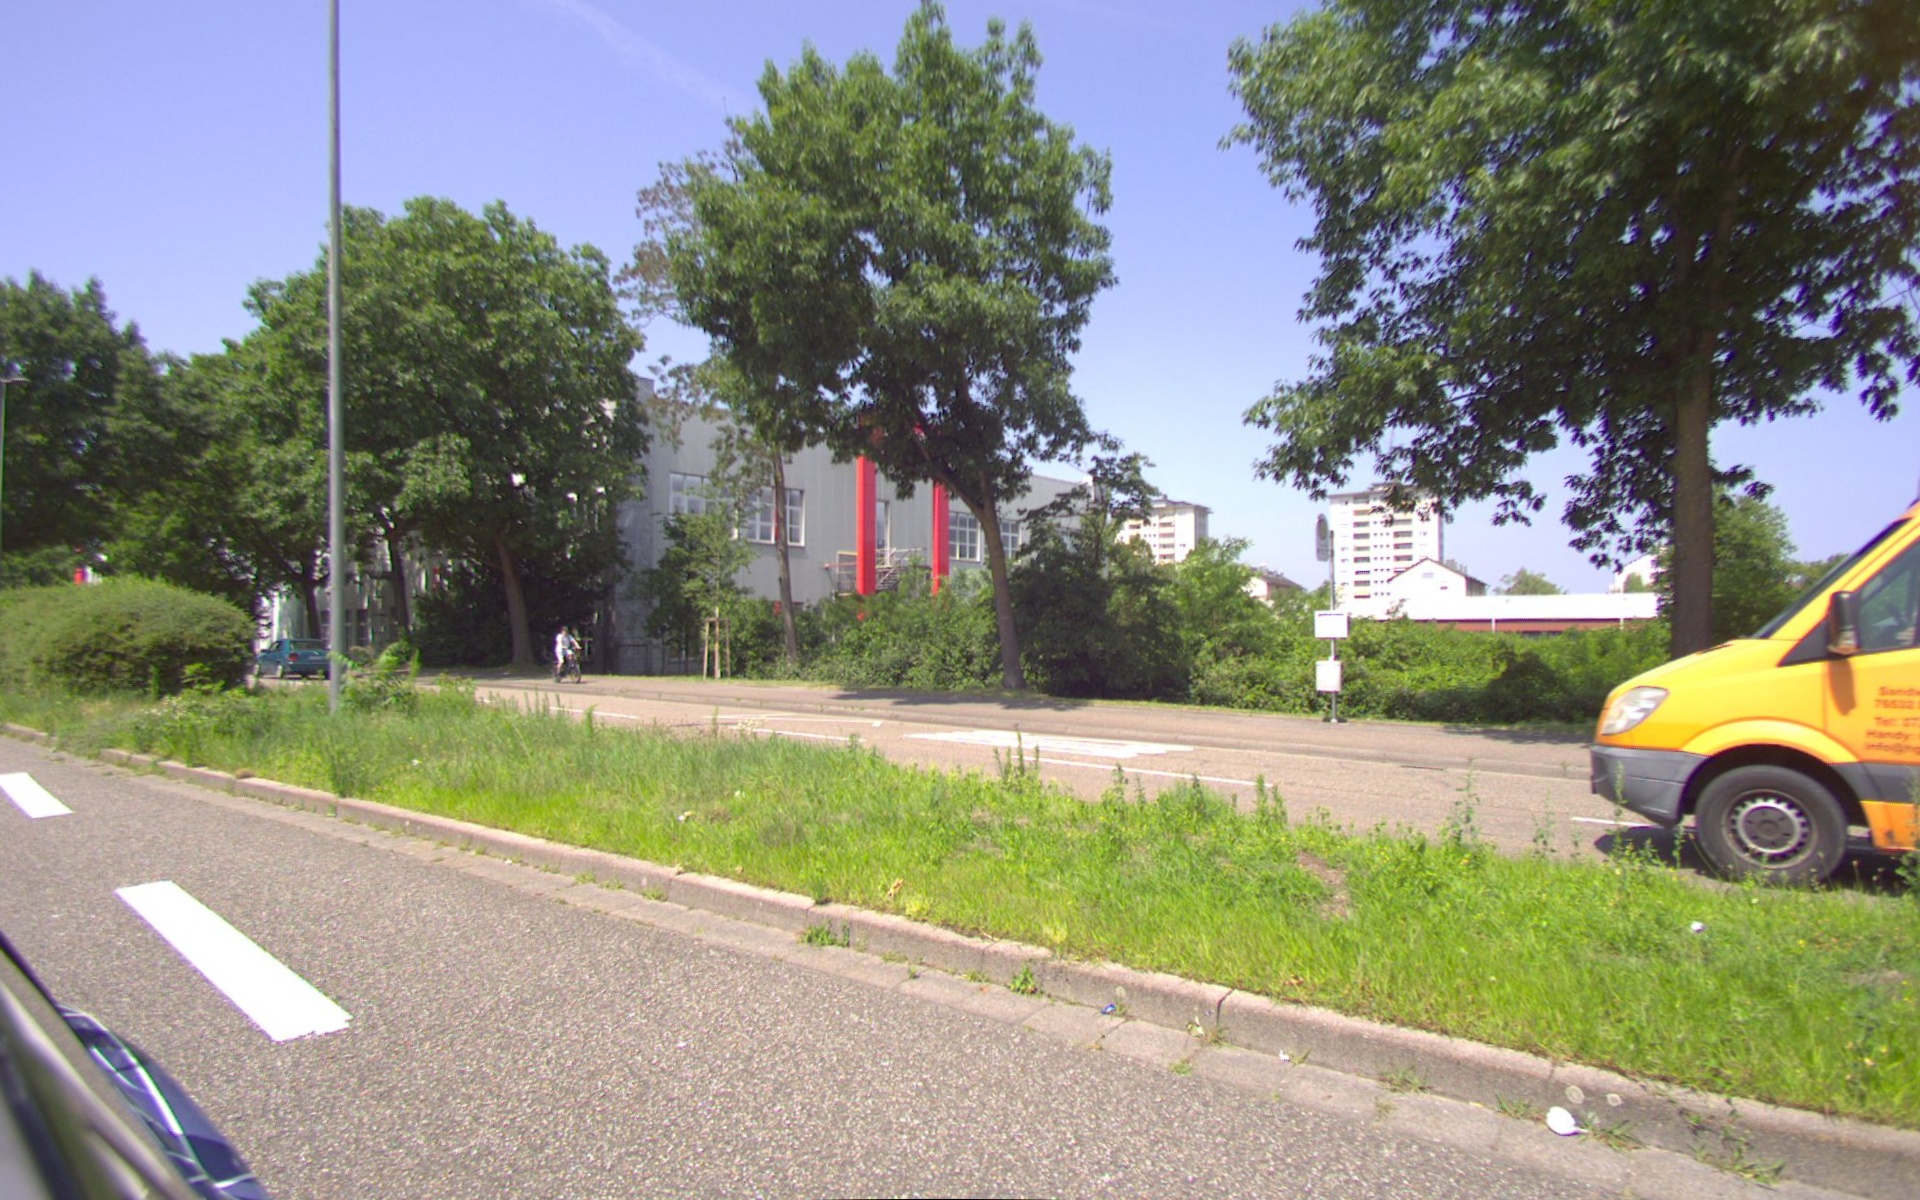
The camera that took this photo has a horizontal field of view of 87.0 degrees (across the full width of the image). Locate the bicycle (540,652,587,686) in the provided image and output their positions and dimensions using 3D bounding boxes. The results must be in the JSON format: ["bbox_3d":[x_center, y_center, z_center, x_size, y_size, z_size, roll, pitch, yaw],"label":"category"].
[{"bbox_3d":[-11.737,2.028,29.947,1.660,0.976,0.610,-2,-3,43],"label":"bicycle"}]

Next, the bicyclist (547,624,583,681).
[{"bbox_3d":[-11.671,1.541,29.906,0.923,1.643,0.601,-2,-3,42],"label":"bicyclist"}]

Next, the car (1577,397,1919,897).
[{"bbox_3d":[6.830,0.253,5.073,6.055,2.587,2.241,-2,-4,42],"label":"car"}]

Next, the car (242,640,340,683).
[{"bbox_3d":[-23.903,2.179,36.089,4.585,1.398,1.668,-2,-5,41],"label":"car"}]
